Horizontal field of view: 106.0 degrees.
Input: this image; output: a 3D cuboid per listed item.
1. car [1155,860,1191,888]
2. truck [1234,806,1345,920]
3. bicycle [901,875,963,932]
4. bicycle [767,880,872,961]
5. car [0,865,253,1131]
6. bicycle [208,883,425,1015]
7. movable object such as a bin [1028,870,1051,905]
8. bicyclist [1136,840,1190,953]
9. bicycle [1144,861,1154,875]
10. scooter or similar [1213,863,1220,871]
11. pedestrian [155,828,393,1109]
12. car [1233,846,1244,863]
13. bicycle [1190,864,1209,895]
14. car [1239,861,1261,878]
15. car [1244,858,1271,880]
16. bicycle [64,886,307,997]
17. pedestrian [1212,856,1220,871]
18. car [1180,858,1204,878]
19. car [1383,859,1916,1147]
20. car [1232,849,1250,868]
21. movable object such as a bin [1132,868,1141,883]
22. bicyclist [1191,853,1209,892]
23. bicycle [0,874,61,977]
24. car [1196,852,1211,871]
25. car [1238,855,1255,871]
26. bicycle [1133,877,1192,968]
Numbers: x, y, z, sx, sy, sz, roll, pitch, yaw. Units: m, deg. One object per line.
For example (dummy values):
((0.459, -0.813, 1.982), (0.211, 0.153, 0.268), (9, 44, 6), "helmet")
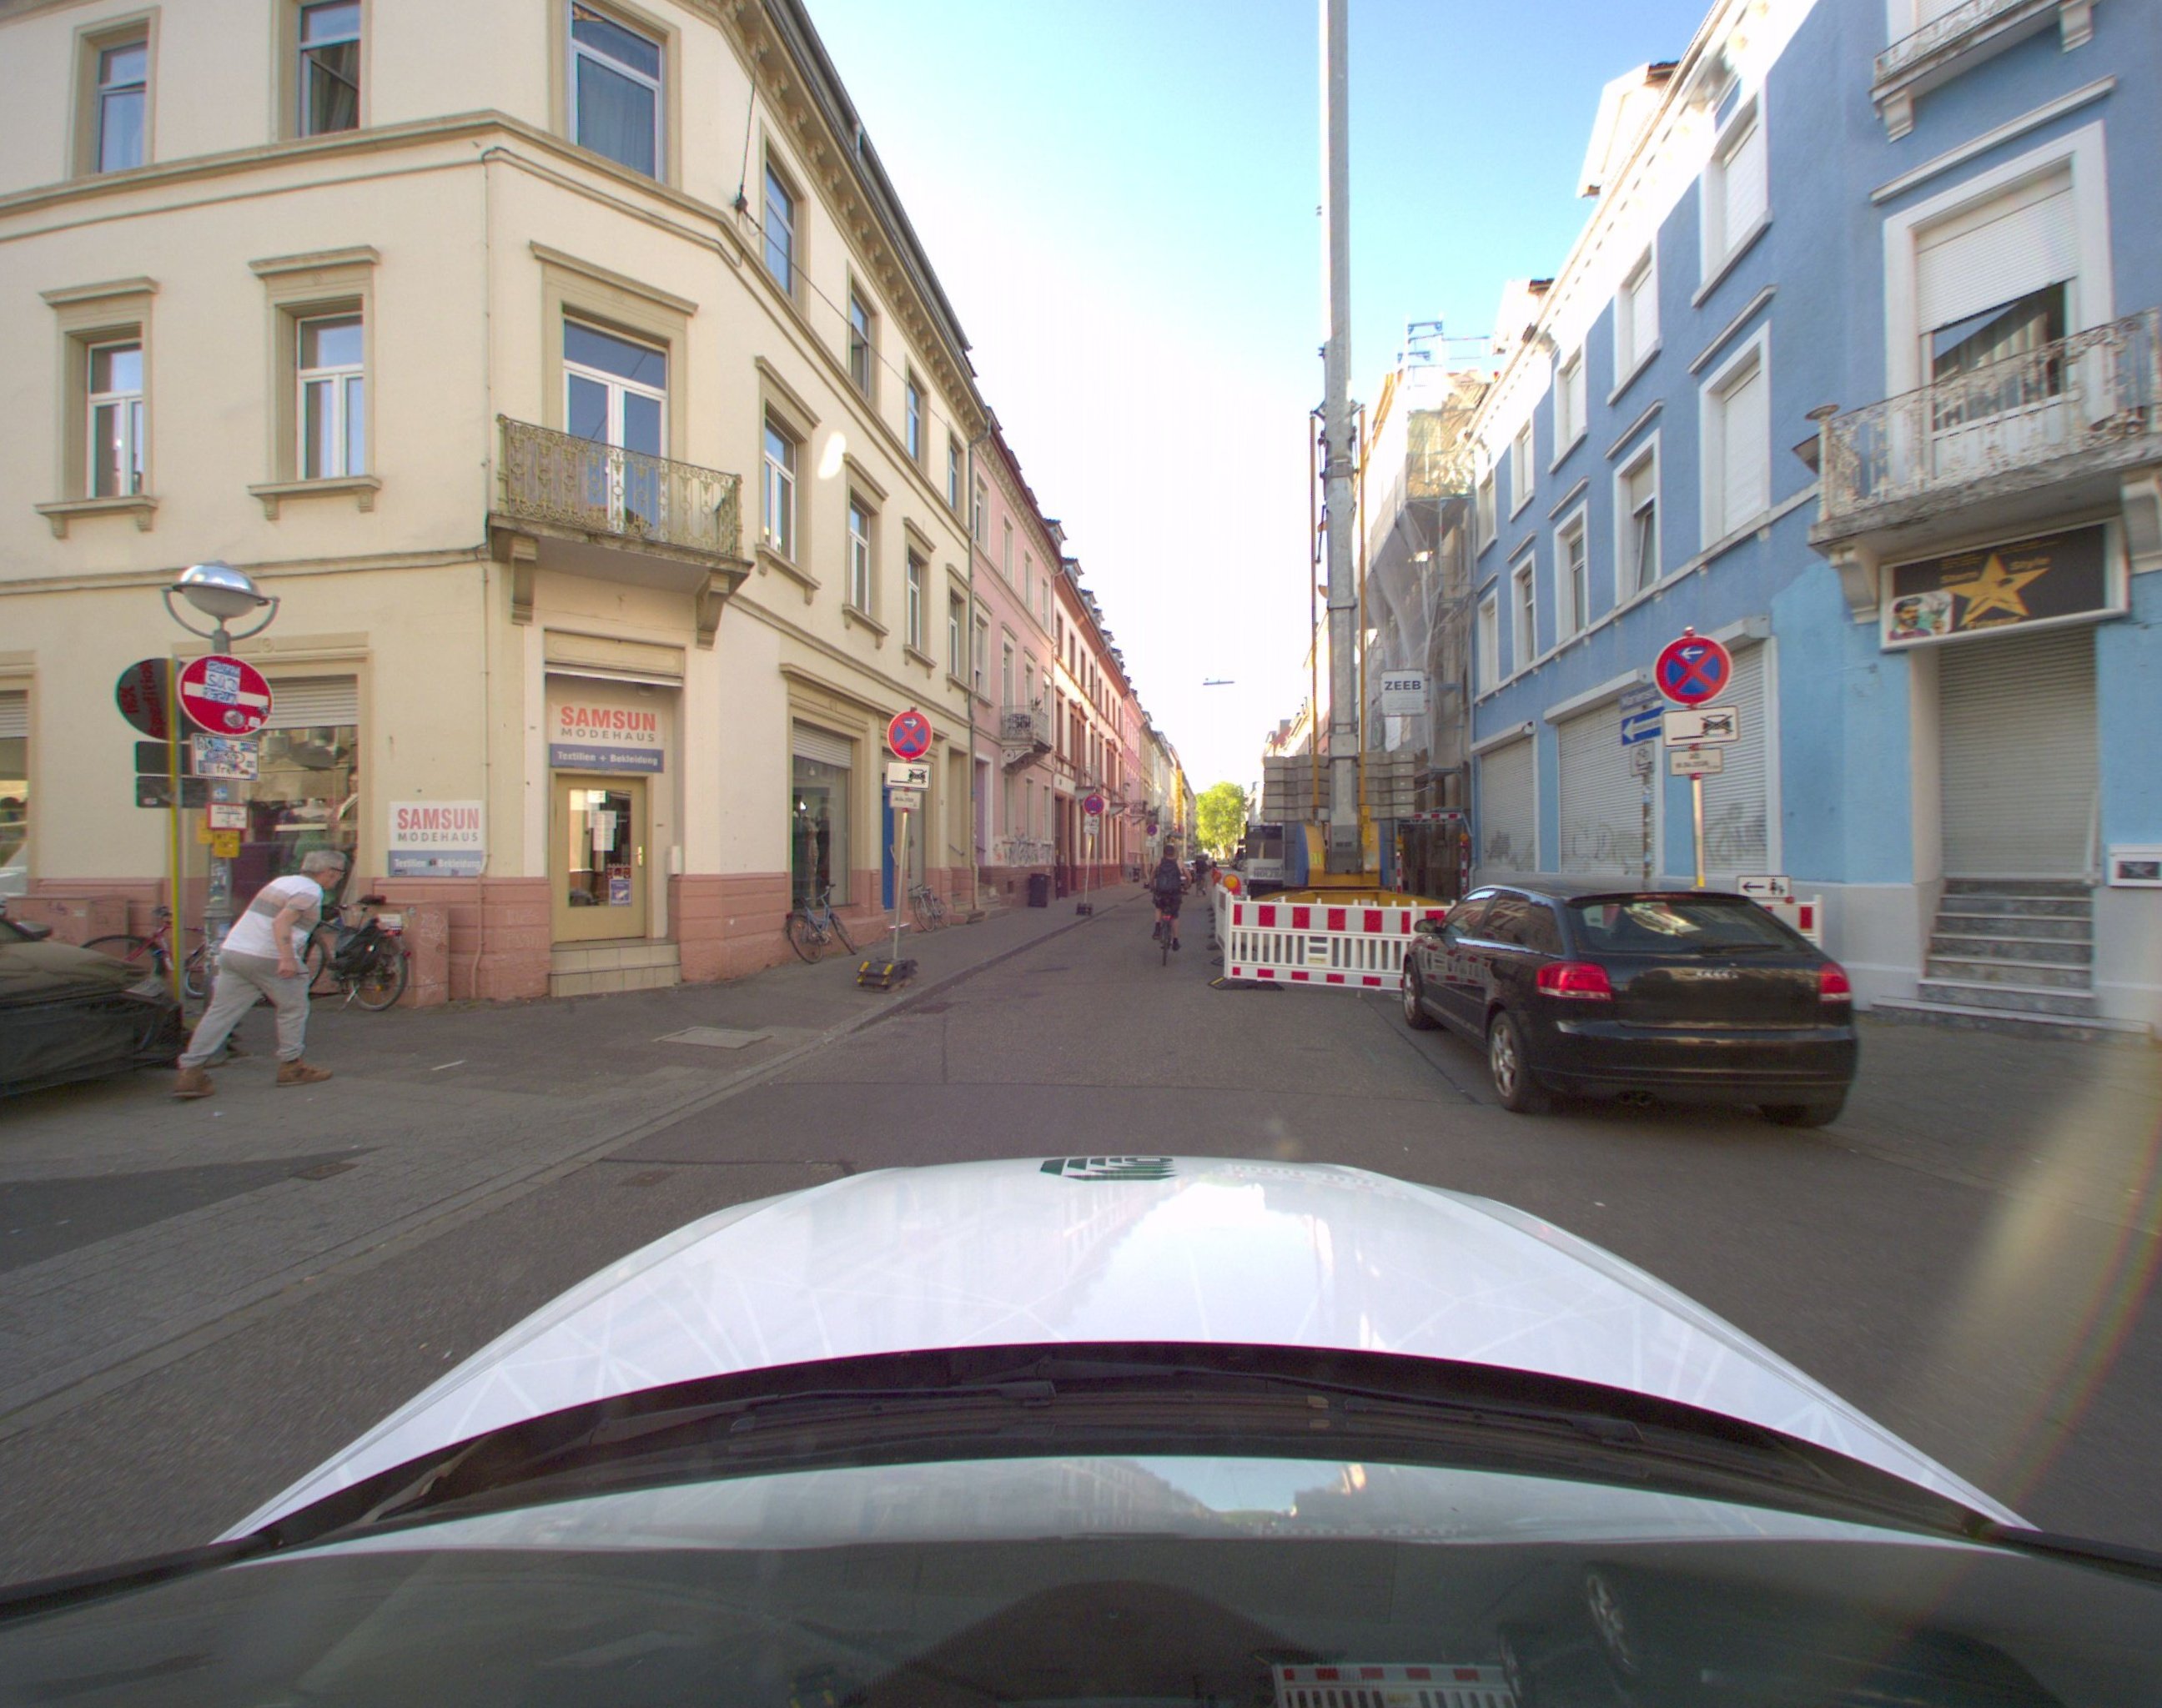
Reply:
((5.217, 1.095, 45.848), (1.700, 1.383, 4.517), (-3, -1, 10), "car")
((5.864, 0.241, 23.927), (2.645, 2.814, 7.414), (0, -1, 10), "truck")
((-2.958, 0.967, 16.346), (0.618, 1.022, 1.823), (0, 0, 10), "bicycle")
((-3.733, 0.918, 11.795), (0.599, 1.022, 1.823), (3, -1, 10), "bicycle")
((-7.970, 0.809, 5.088), (4.116, 1.455, 1.763), (0, 0, 7), "car")
((-7.466, 0.885, 7.961), (1.907, 1.149, 0.615), (0, -1, 15), "bicycle")
((-1.269, 1.006, 24.891), (0.602, 1.035, 0.598), (0, -1, 8), "movable object such as a bin")
((1.269, 0.633, 12.461), (0.697, 1.633, 1.093), (-2, -1, 10), "bicyclist")
((5.479, 1.119, 65.360), (0.589, 1.089, 2.085), (0, -1, 10), "bicycle")
((14.660, 1.403, 88.130), (0.766, 0.873, 0.772), (1, -1, 6), "scooter or similar")
((-5.396, 0.693, 5.496), (0.689, 1.701, 0.867), (4, 2, 10), "pedestrian")
((37.037, 0.175, 192.024), (2.294, 3.768, 6.788), (-3, -1, 10), "car")
((5.057, 1.074, 34.650), (0.698, 1.208, 2.348), (-2, 1, 9), "bicycle")
((15.186, 1.381, 73.283), (1.700, 1.383, 4.011), (-3, -1, 10), "car")
((13.561, 1.155, 62.830), (1.806, 1.521, 4.011), (-3, -1, 10), "car")
((-9.330, 0.895, 8.519), (1.913, 1.070, 0.613), (1, -1, 3), "bicycle")
((14.712, 1.063, 88.636), (0.766, 1.578, 0.902), (1, -1, 6), "pedestrian")
((8.606, 1.084, 63.011), (1.662, 1.442, 4.176), (-3, -1, 10), "car")
((3.628, 0.757, 6.199), (1.761, 1.434, 4.044), (0, 0, 9), "car")
((23.569, 0.672, 120.099), (2.294, 2.538, 6.788), (-3, -1, 10), "car")
((3.537, 1.398, 51.953), (0.540, 0.945, 0.489), (0, -1, 10), "movable object such as a bin")
((5.054, 0.782, 34.648), (0.698, 1.605, 0.815), (-2, 0, 9), "bicyclist")
((-12.875, 0.798, 9.417), (1.907, 1.122, 0.615), (0, -1, 15), "bicycle")
((16.455, 1.009, 109.866), (1.899, 2.497, 4.174), (-2, 0, 8), "car")
((17.905, 0.957, 88.003), (1.611, 1.550, 4.011), (-3, -1, 10), "car")
((1.300, 0.997, 12.559), (0.697, 1.208, 2.348), (-2, -1, 10), "bicycle")
